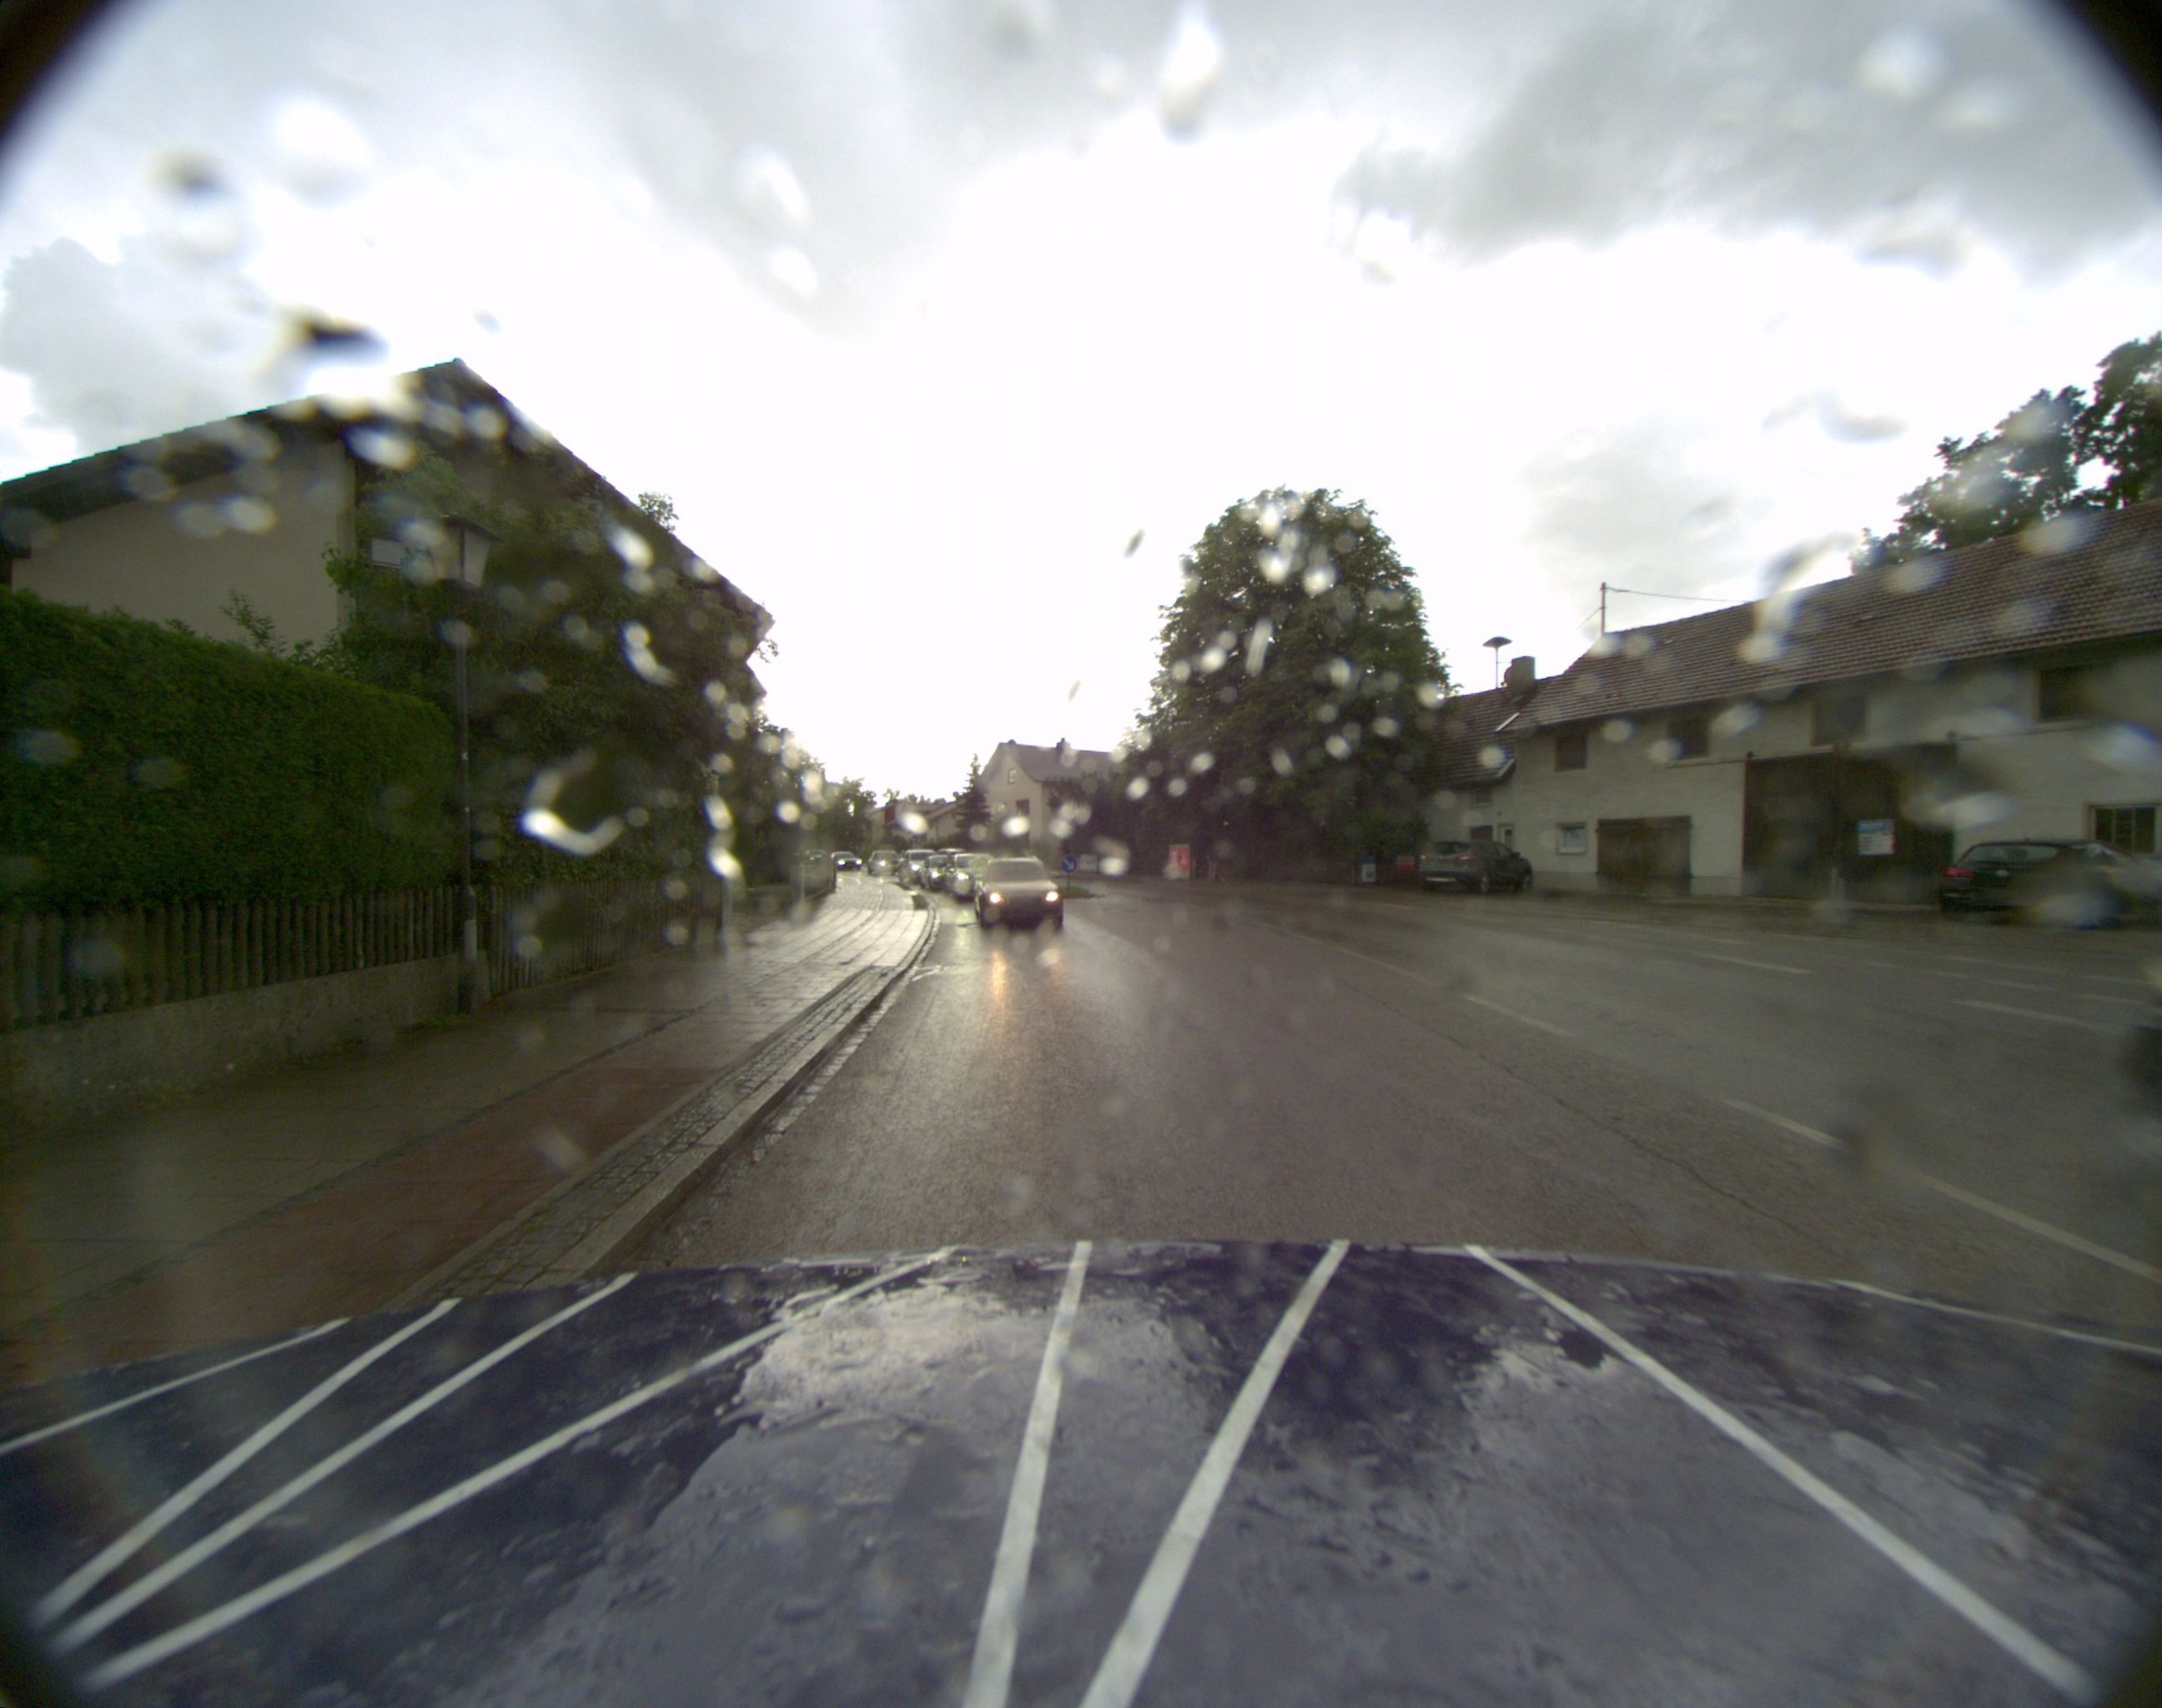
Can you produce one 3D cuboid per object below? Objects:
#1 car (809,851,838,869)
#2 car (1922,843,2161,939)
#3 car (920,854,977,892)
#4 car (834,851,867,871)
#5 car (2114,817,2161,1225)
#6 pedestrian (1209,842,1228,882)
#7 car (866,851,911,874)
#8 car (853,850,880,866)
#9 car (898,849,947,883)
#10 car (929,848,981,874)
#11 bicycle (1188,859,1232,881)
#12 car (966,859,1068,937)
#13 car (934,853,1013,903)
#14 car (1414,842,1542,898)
[{"bbox_3d":[-24.904,0.569,73.301,1.797,1.539,4.271,-3,1,-29],"label":"car"},{"bbox_3d":[17.047,0.552,13.322,4.286,1.428,1.817,-1,1,-24],"label":"car"},{"bbox_3d":[-5.690,0.749,32.233,1.796,1.387,4.274,-3,1,-18],"label":"car"},{"bbox_3d":[-18.907,0.552,62.218,1.797,1.539,4.271,-3,1,-28],"label":"car"},{"bbox_3d":[5.030,0.682,0.920,1.787,1.653,4.448,-1,1,6],"label":"car"},{"bbox_3d":[5.744,0.329,31.708,0.652,1.619,0.479,-1,1,21],"label":"pedestrian"},{"bbox_3d":[-12.889,0.551,50.749,1.797,1.365,4.271,-3,1,-29],"label":"car"},{"bbox_3d":[-22.171,0.383,78.332,1.797,1.539,4.271,-3,1,-27],"label":"car"},{"bbox_3d":[-8.189,0.576,39.082,1.797,1.539,4.273,-3,1,-20],"label":"car"},{"bbox_3d":[-8.251,0.454,49.484,2.003,1.586,4.182,-2,0,-30],"label":"car"},{"bbox_3d":[5.573,0.675,32.924,0.665,0.897,1.869,-2,1,-40],"label":"bicycle"},{"bbox_3d":[-1.576,0.877,17.168,1.795,1.387,4.276,-2,1,-11],"label":"car"},{"bbox_3d":[-3.862,0.733,26.557,1.796,1.471,5.377,-3,1,-18],"label":"car"},{"bbox_3d":[11.978,0.453,22.803,4.290,1.539,1.813,1,0,-39],"label":"car"}]
